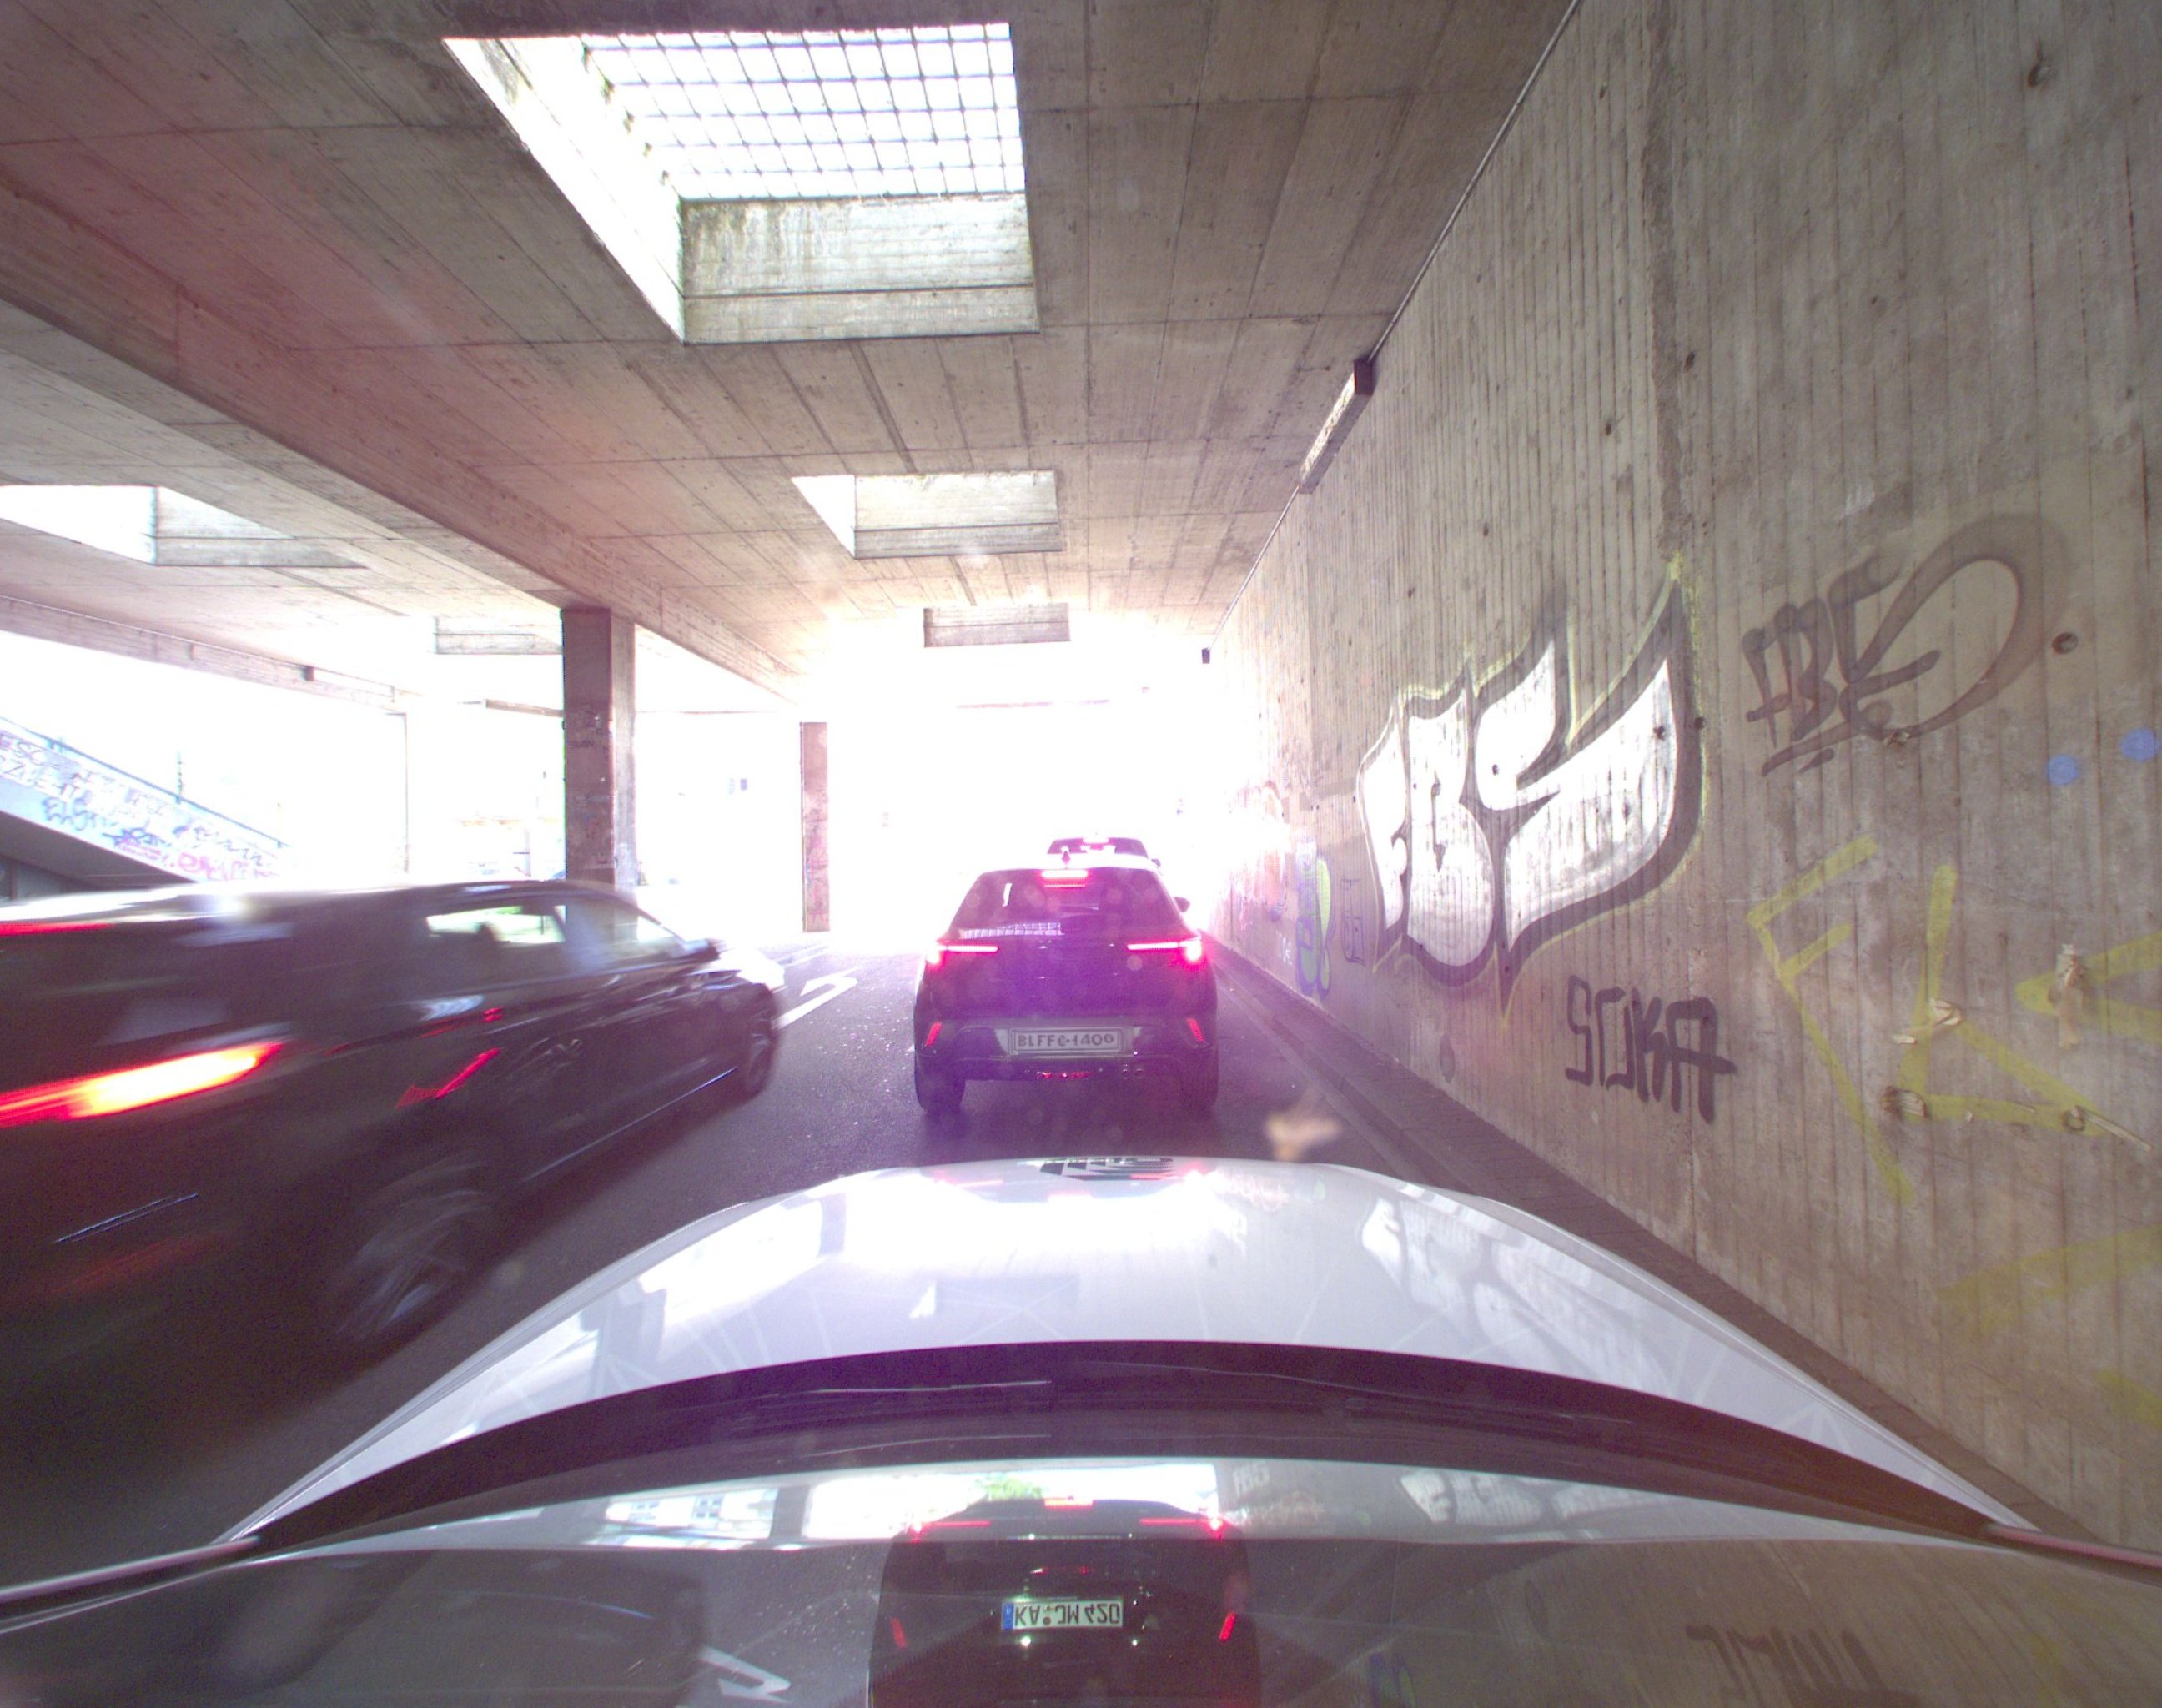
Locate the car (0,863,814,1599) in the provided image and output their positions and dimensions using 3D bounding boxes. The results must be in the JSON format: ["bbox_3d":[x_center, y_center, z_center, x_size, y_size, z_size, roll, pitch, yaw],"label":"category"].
[{"bbox_3d":[-2.839,0.797,3.758,1.773,1.447,4.178,0,0,1],"label":"car"}]

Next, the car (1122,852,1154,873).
[{"bbox_3d":[4.410,0.647,62.276,1.955,1.497,3.908,-2,-2,11],"label":"car"}]

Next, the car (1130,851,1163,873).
[{"bbox_3d":[5.593,0.691,69.061,2.206,1.719,4.474,-2,-2,12],"label":"car"}]

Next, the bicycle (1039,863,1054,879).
[{"bbox_3d":[-2.370,1.123,55.686,0.621,1.067,1.694,-1,-1,11],"label":"bicycle"}]

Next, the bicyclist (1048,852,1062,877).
[{"bbox_3d":[-1.647,0.647,52.286,0.724,1.581,0.817,-1,-1,11],"label":"bicyclist"}]

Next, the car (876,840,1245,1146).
[{"bbox_3d":[-0.046,0.721,6.212,1.875,1.538,3.966,-2,0,2],"label":"car"}]

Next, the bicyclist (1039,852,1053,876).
[{"bbox_3d":[-2.391,0.679,55.576,0.724,1.581,0.817,-1,-1,11],"label":"bicyclist"}]

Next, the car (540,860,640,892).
[{"bbox_3d":[-27.204,1.202,45.266,4.114,1.550,2.268,-2,0,1],"label":"car"}]

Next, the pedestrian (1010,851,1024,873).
[{"bbox_3d":[-6.088,0.747,77.525,0.986,2.013,1.091,-2,0,10],"label":"pedestrian"}]

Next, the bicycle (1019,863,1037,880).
[{"bbox_3d":[-3.384,1.114,51.768,0.727,1.067,1.694,-1,-1,11],"label":"bicycle"}]

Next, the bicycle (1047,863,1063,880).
[{"bbox_3d":[-1.670,1.104,52.278,0.621,1.067,1.694,-1,-1,11],"label":"bicycle"}]

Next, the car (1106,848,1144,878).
[{"bbox_3d":[2.412,0.509,44.291,1.959,1.497,3.900,-2,-2,4],"label":"car"}]

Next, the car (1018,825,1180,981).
[{"bbox_3d":[0.286,0.604,12.033,1.938,1.860,3.966,-2,0,2],"label":"car"}]

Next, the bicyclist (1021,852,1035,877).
[{"bbox_3d":[-3.375,0.656,51.803,0.724,1.581,0.817,-1,-1,11],"label":"bicyclist"}]

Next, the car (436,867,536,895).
[{"bbox_3d":[-33.008,1.495,45.265,3.970,1.374,2.192,-2,0,3],"label":"car"}]
